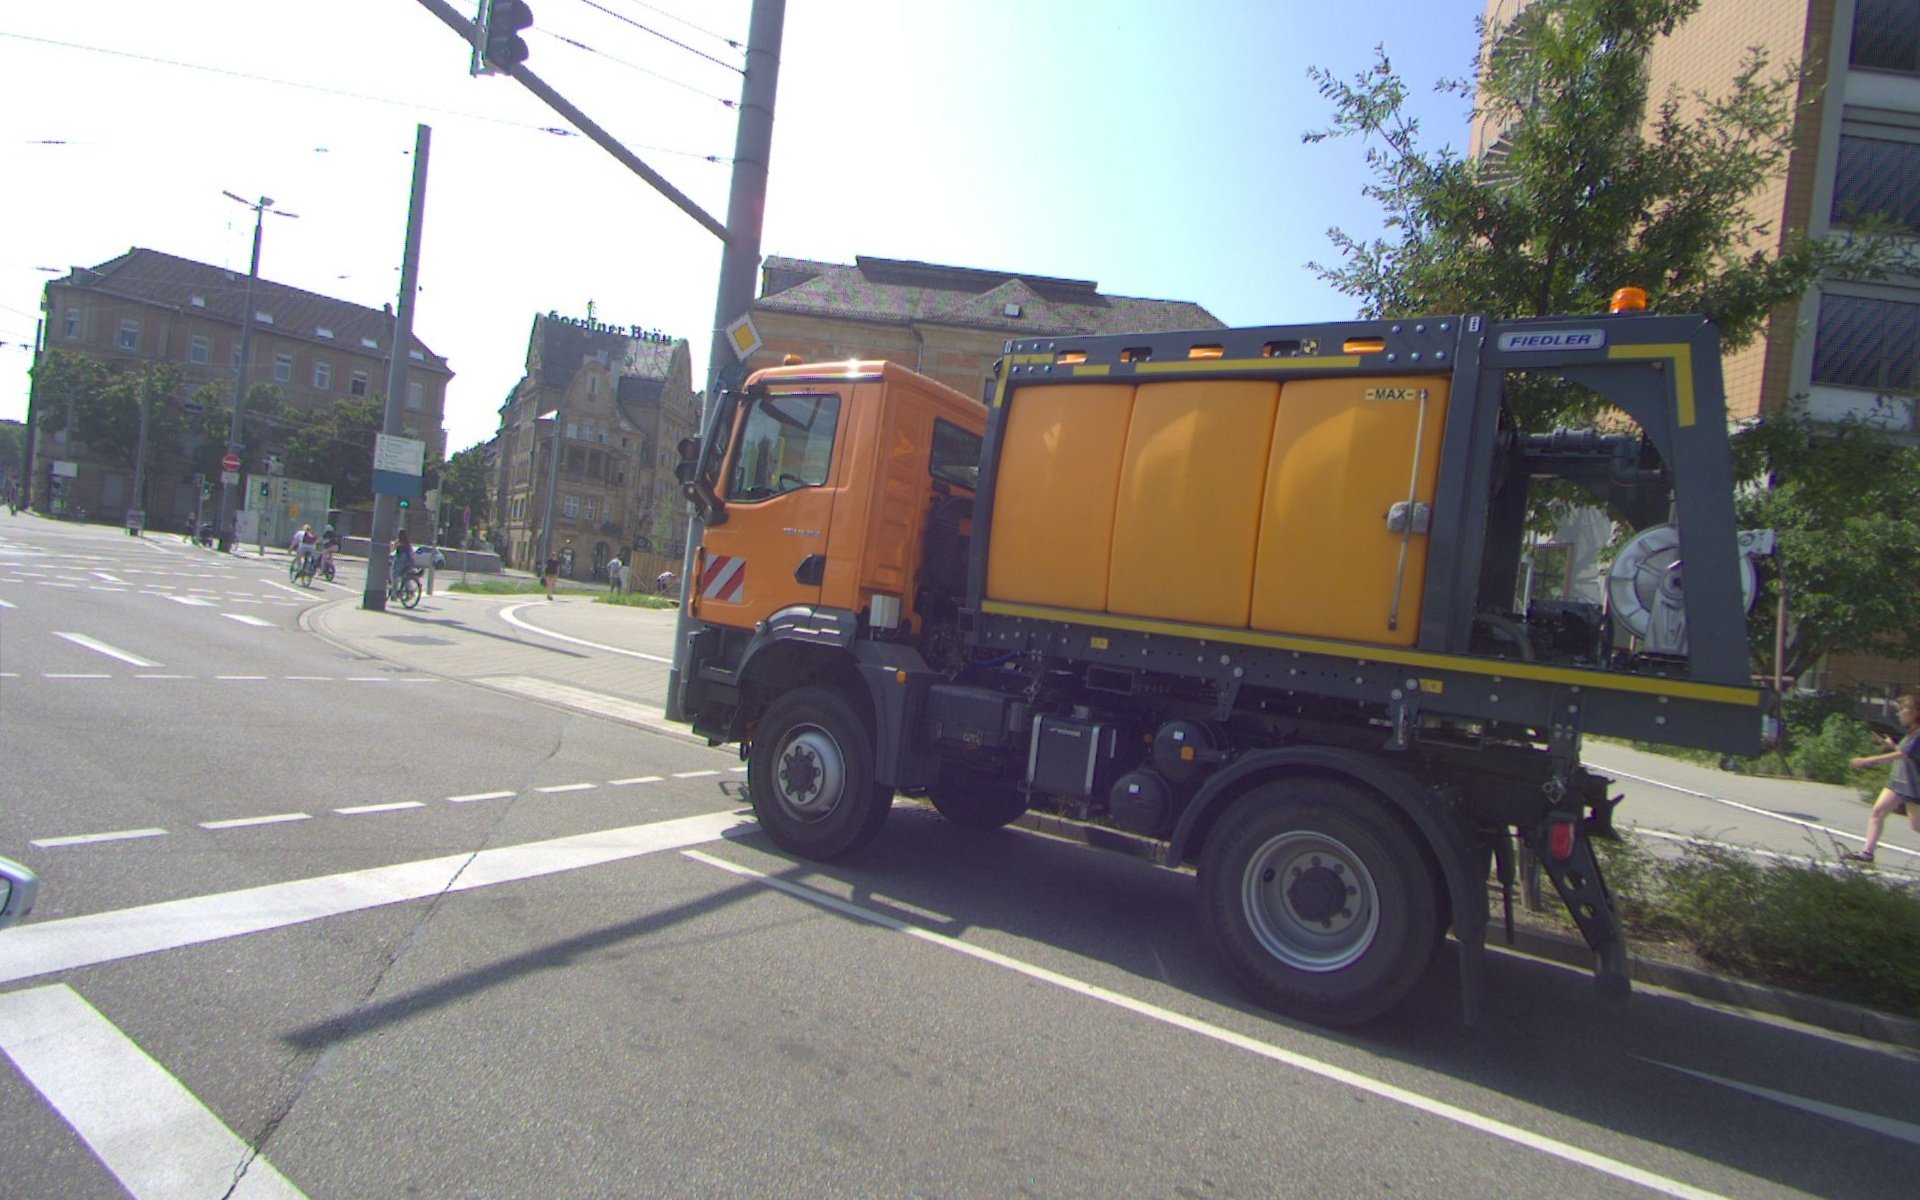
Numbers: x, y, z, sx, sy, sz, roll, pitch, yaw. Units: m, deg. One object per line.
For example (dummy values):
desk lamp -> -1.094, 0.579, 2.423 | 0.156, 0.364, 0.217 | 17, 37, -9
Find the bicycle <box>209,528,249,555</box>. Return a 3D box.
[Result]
bicycle -> -34.186, -2.750, 47.071 | 1.622, 1.068, 0.471 | 7, 1, 12

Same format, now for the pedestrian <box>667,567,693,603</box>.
pedestrian -> -11.944, -0.624, 42.869 | 0.679, 1.417, 0.767 | 7, 1, 7

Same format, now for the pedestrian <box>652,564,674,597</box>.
pedestrian -> -12.136, -0.798, 41.139 | 0.660, 1.229, 0.523 | 6, 1, -30

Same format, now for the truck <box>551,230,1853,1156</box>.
truck -> 0.735, 0.117, 6.349 | 6.751, 3.171, 2.495 | 7, -1, 34

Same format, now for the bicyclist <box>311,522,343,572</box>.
bicyclist -> -19.368, -1.624, 30.779 | 0.882, 1.410, 0.529 | 7, 1, 44

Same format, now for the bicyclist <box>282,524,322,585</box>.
bicyclist -> -17.687, -1.228, 27.038 | 0.702, 1.536, 0.626 | 7, 1, 44

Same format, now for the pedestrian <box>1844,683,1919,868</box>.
pedestrian -> 9.402, 1.722, 9.896 | 0.792, 1.720, 0.671 | 7, 1, 31

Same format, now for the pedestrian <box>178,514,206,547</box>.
pedestrian -> -39.148, -3.554, 51.281 | 0.838, 1.564, 0.528 | 6, 1, -9

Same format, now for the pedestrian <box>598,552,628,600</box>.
pedestrian -> -13.233, -0.914, 38.403 | 0.808, 1.746, 0.546 | 6, 1, -9

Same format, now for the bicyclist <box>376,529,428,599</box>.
bicyclist -> -13.041, -0.839, 23.519 | 0.653, 1.536, 0.734 | 7, 1, 36

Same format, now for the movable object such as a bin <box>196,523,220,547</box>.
movable object such as a bin -> -38.327, -3.314, 51.269 | 0.803, 1.091, 0.510 | 6, 1, -19

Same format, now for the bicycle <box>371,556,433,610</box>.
bicycle -> -13.060, -0.399, 23.509 | 1.795, 1.068, 0.492 | 7, 1, 37

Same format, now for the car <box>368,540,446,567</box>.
car -> -33.154, -2.779, 60.397 | 1.962, 1.103, 4.002 | 7, 0, 10

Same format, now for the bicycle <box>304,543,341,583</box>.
bicycle -> -19.670, -1.148, 31.044 | 1.632, 1.068, 0.535 | 7, 1, 45

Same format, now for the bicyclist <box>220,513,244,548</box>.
bicyclist -> -34.076, -3.241, 47.089 | 0.511, 1.548, 0.613 | 7, 1, 8

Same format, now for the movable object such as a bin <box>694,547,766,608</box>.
movable object such as a bin -> -10.902, -0.987, 48.100 | 1.926, 2.338, 5.563 | 7, -2, 0

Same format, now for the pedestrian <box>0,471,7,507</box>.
pedestrian -> -81.852, -9.473, 85.459 | 0.960, 3.055, 0.983 | 7, 1, 37

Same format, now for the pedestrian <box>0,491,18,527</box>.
pedestrian -> -85.660, -8.179, 90.500 | 0.960, 3.055, 0.983 | 7, 1, 37

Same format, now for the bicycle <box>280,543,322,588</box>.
bicycle -> -17.724, -0.934, 27.049 | 1.632, 1.068, 0.535 | 7, 1, 45

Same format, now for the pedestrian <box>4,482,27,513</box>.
pedestrian -> -52.980, -5.756, 56.421 | 0.562, 1.623, 0.701 | 7, 1, 24

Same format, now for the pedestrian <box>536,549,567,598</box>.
pedestrian -> -14.081, -0.896, 34.675 | 0.727, 1.595, 0.787 | 6, 1, -14
